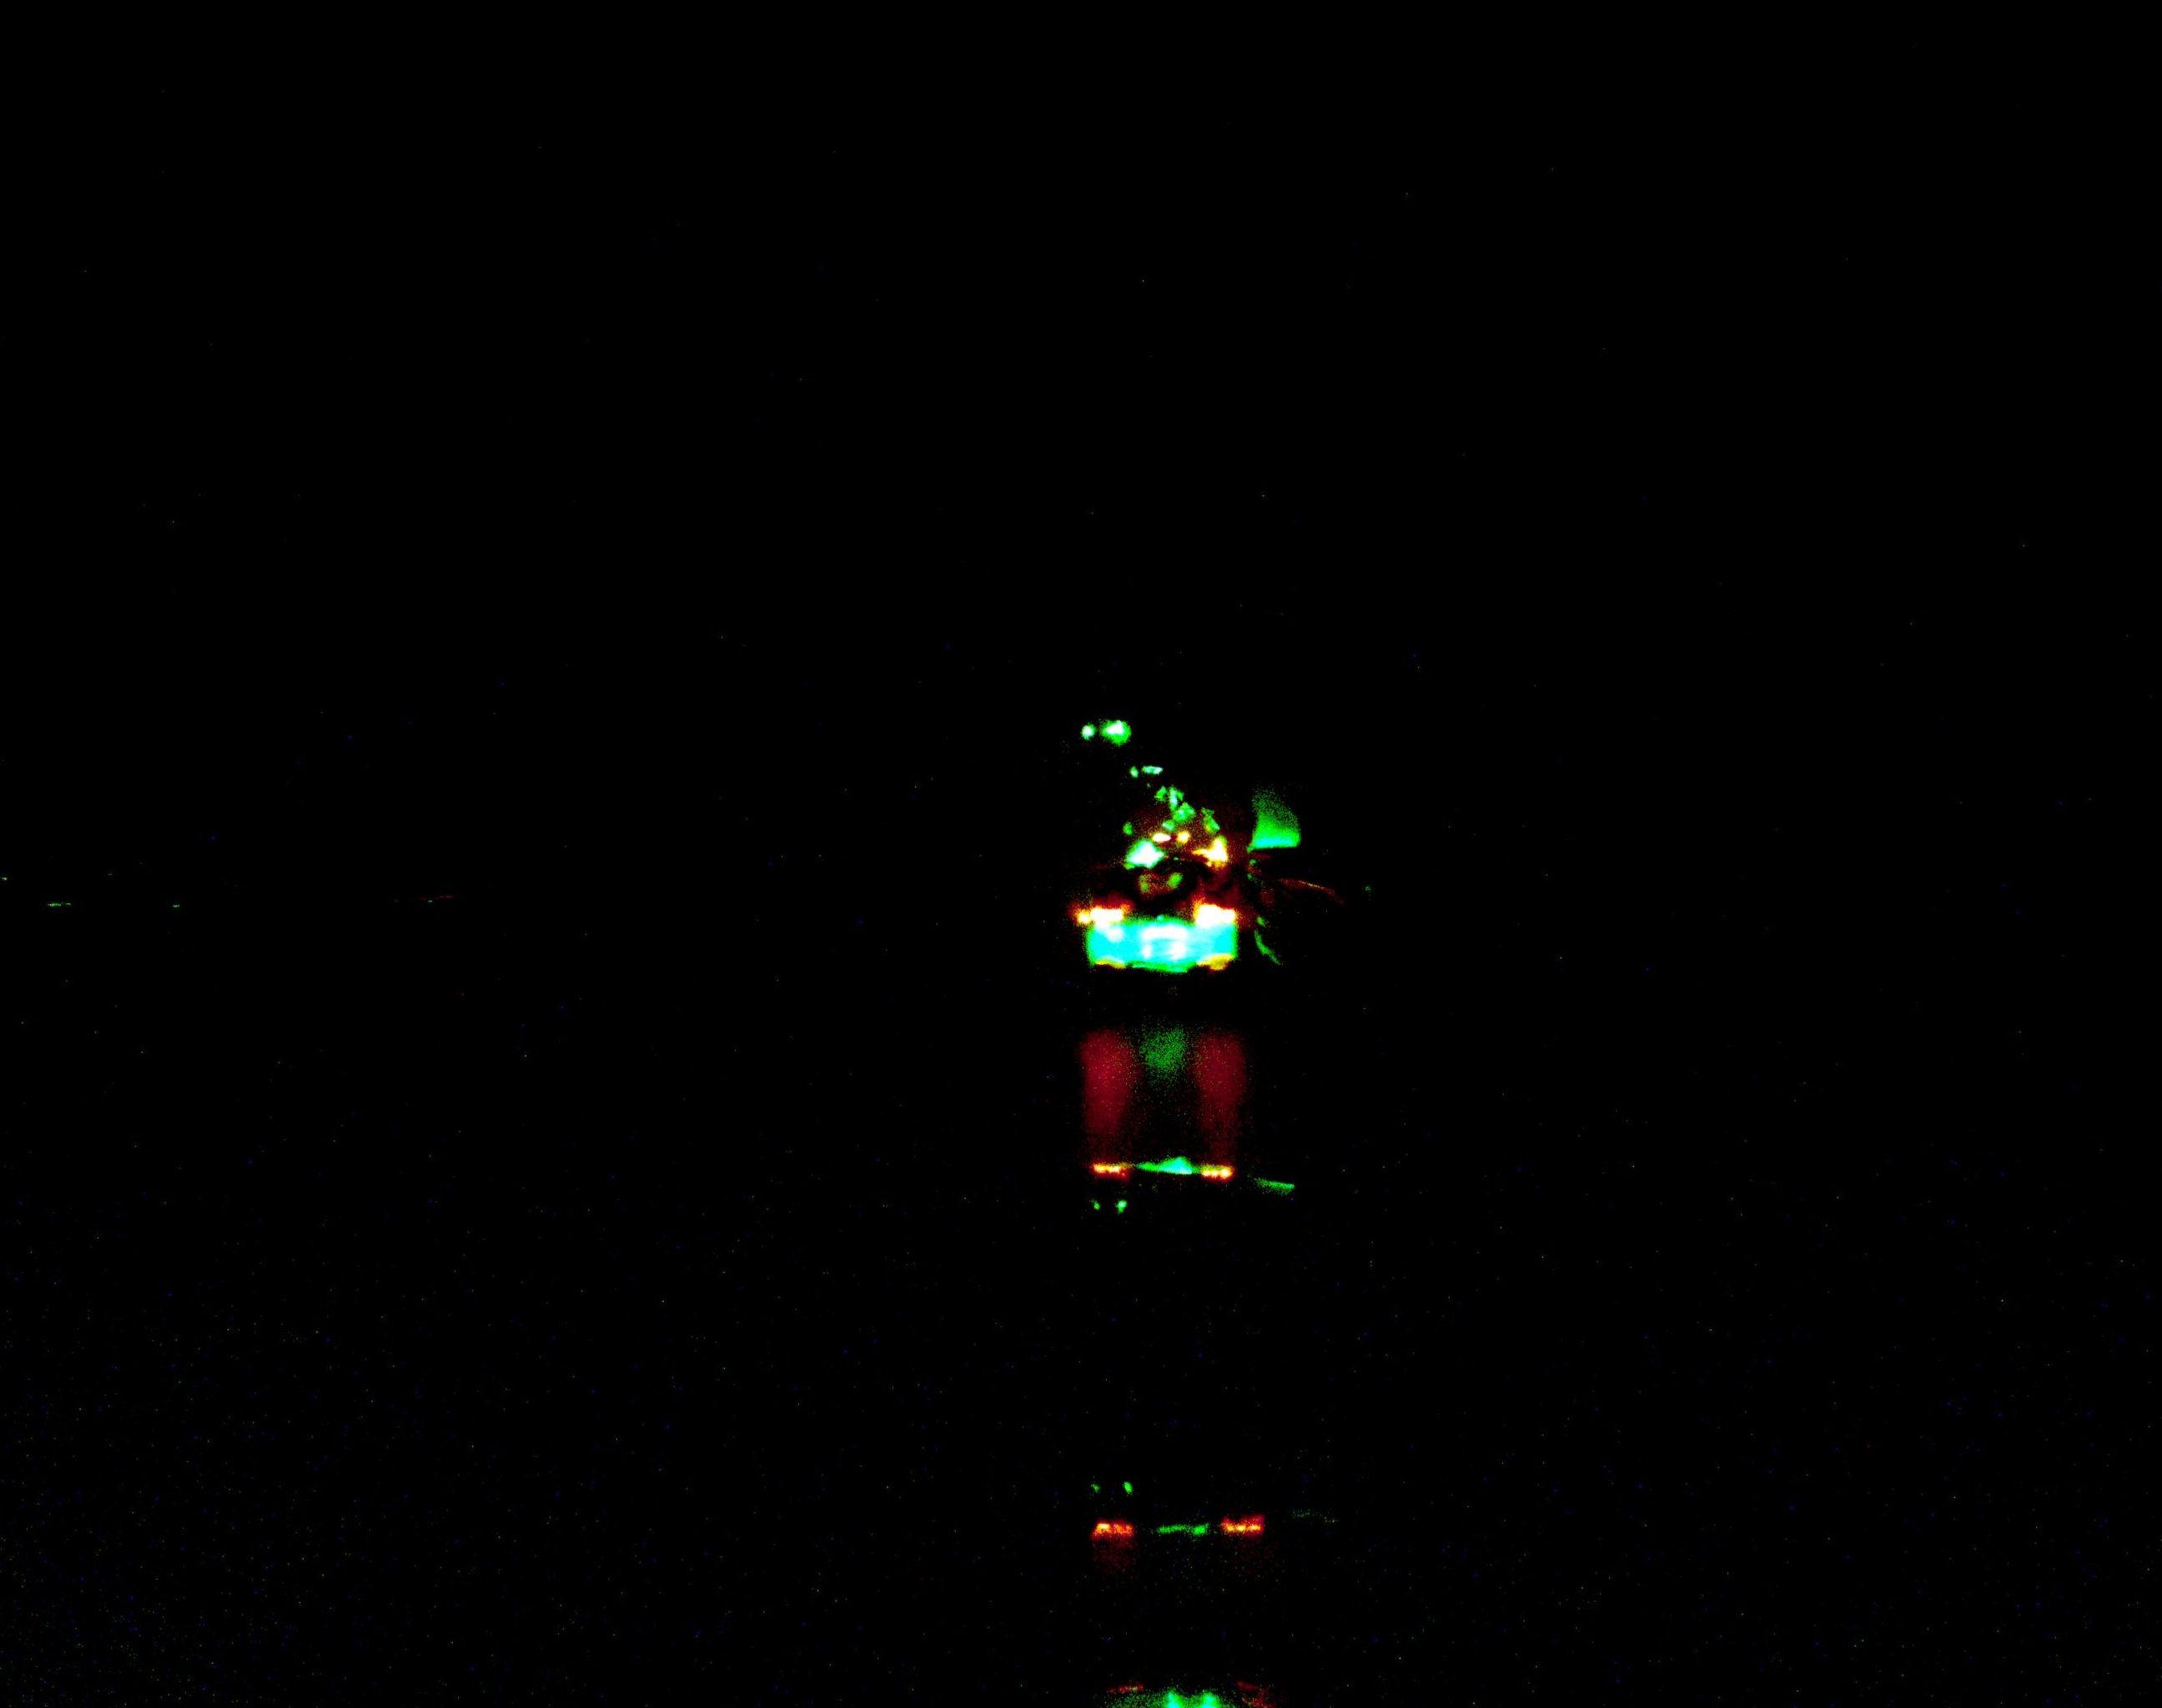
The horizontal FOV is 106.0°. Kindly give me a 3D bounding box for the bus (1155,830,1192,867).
[{"bbox_3d":[8.522,-0.497,74.380,2.727,3.123,9.227,-1,0,10],"label":"bus"}]

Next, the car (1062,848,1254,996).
[{"bbox_3d":[1.040,0.720,10.260,1.933,1.491,3.724,-2,-1,8],"label":"car"}]

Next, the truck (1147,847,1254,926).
[{"bbox_3d":[4.633,1.127,30.207,3.047,2.528,7.194,-1,-1,15],"label":"truck"}]

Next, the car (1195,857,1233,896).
[{"bbox_3d":[6.948,1.156,42.321,1.825,1.948,4.011,-1,-1,10],"label":"car"}]
